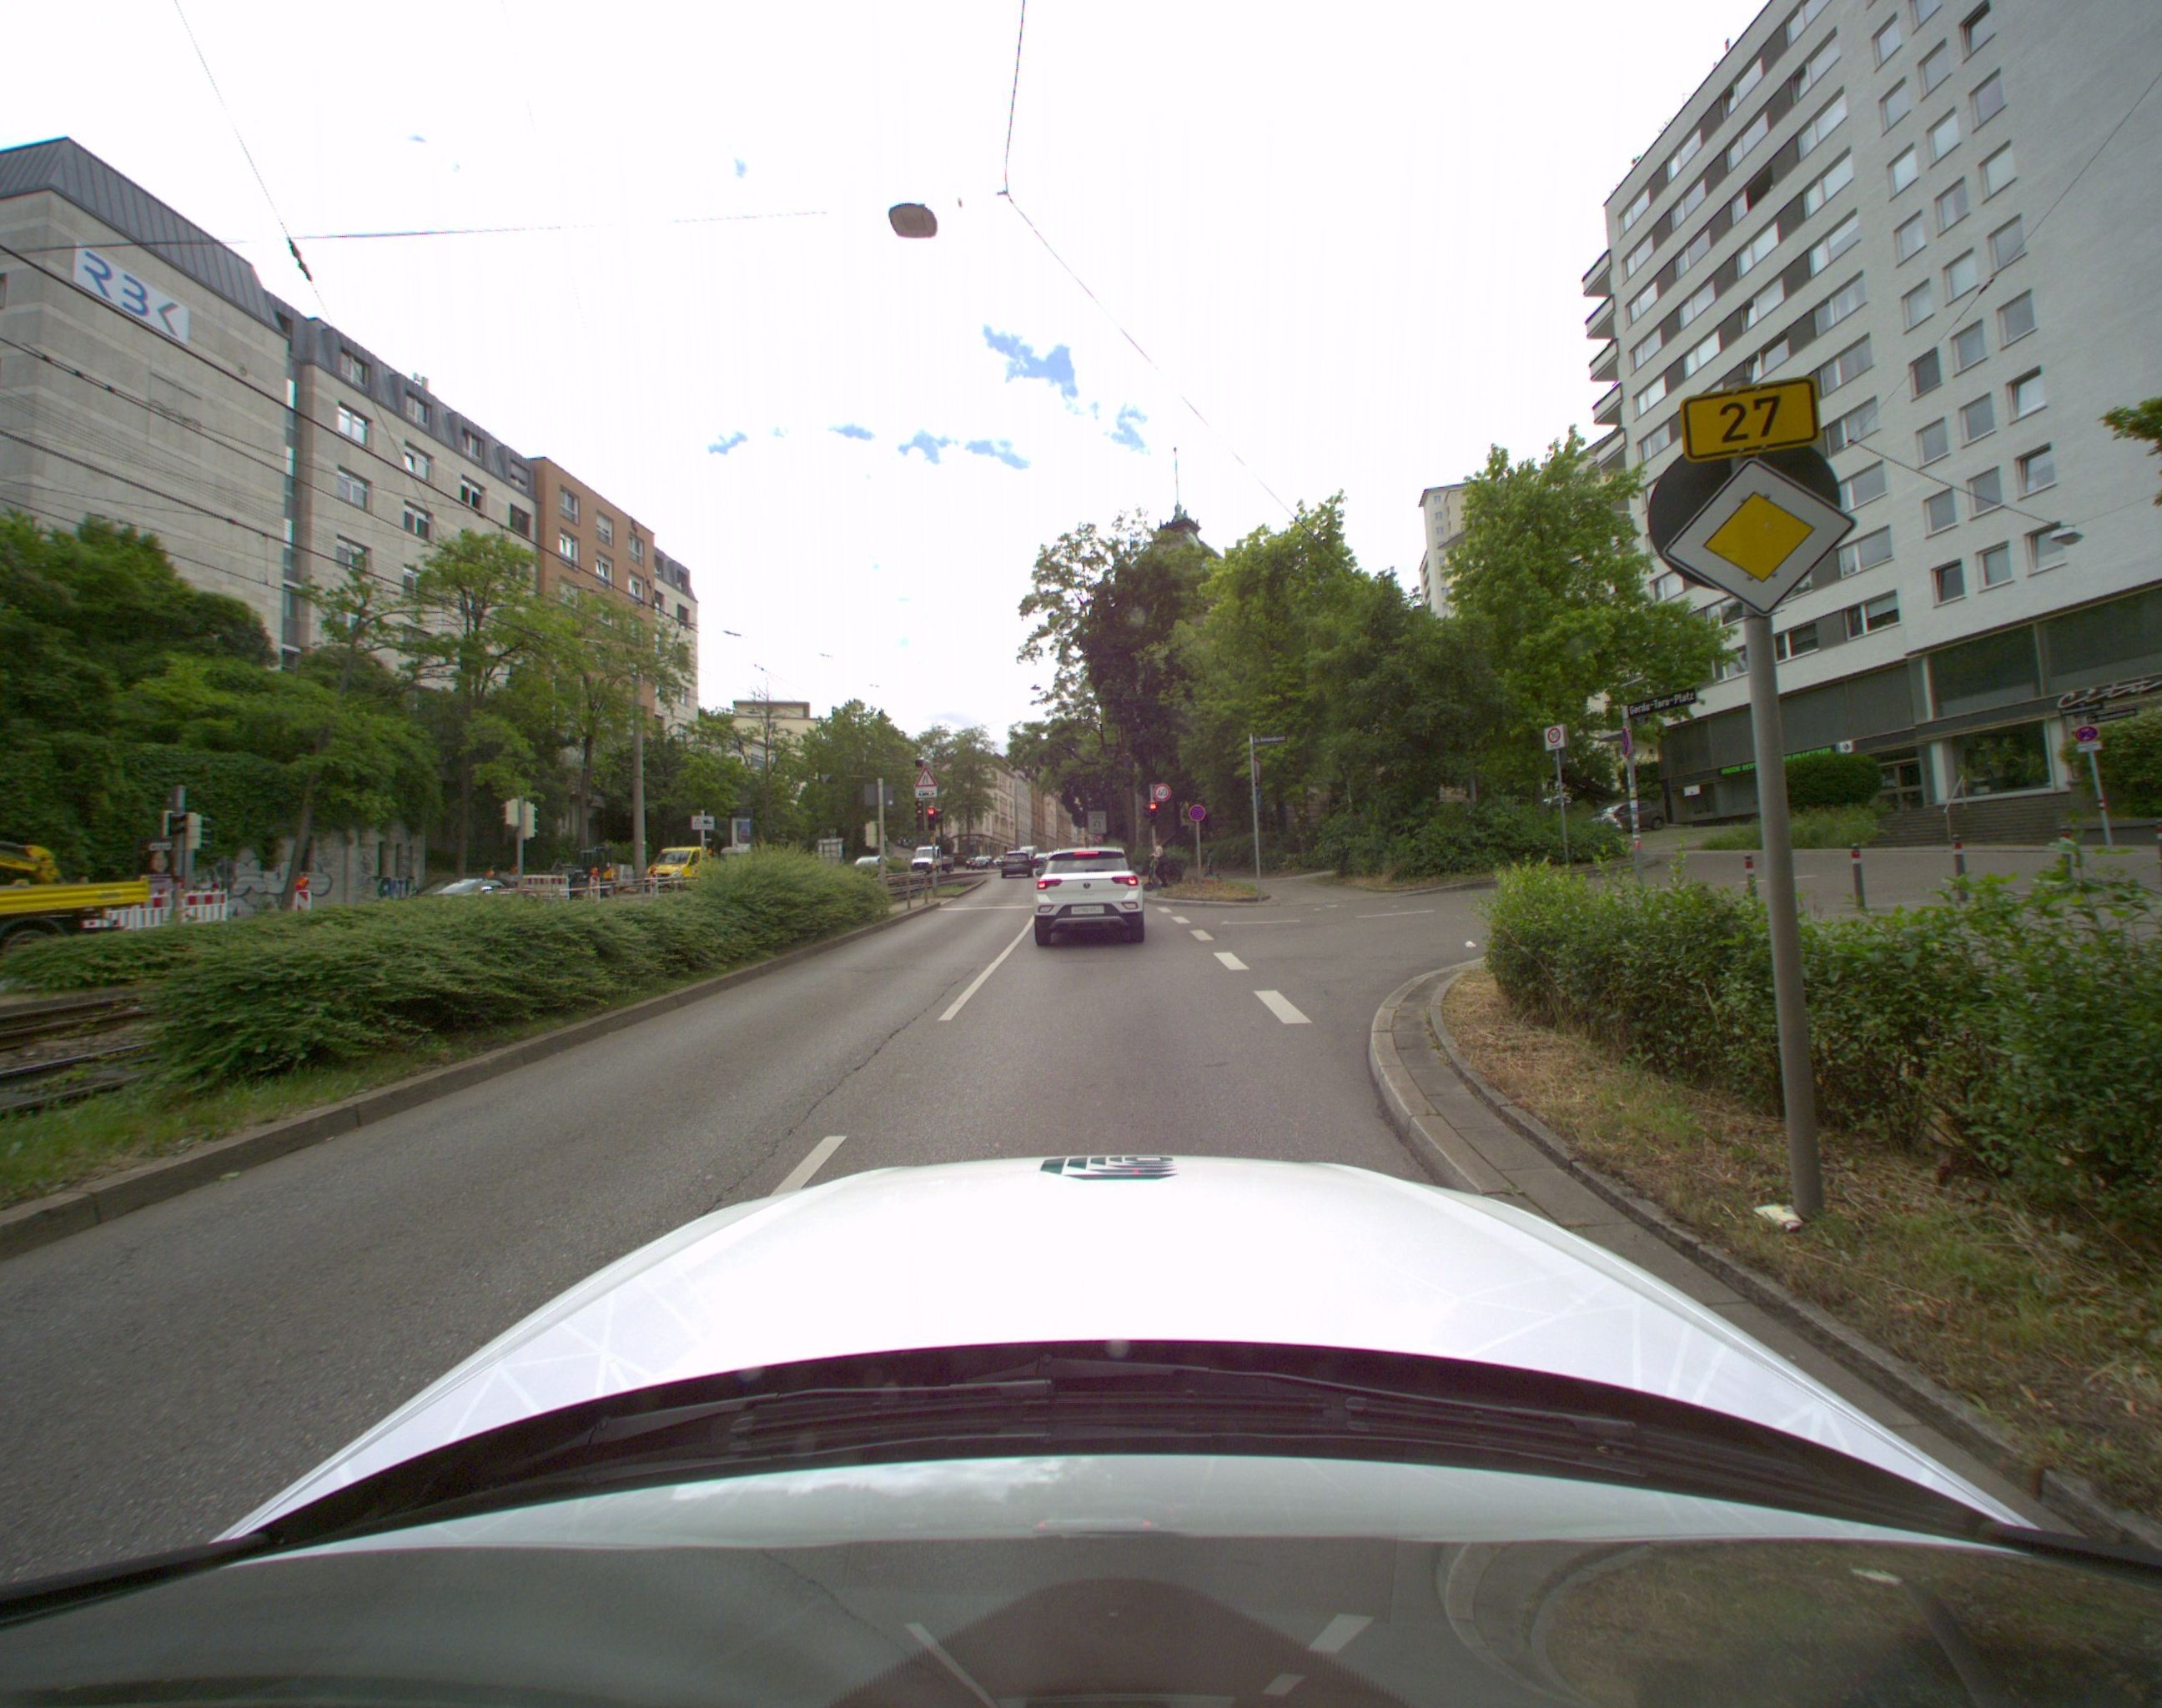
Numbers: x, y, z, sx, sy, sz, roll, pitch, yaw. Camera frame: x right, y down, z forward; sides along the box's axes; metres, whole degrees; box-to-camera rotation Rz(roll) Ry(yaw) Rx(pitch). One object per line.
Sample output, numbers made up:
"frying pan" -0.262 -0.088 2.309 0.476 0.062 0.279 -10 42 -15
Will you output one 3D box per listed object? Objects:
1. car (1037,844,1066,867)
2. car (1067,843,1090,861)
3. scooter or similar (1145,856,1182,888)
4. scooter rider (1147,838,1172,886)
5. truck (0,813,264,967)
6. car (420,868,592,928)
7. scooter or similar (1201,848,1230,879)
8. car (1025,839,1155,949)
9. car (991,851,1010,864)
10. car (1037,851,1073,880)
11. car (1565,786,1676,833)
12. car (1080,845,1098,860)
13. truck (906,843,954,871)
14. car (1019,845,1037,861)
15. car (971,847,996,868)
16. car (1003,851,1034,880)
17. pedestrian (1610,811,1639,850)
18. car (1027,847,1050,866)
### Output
"car" -2.257 0.149 63.824 1.986 1.623 4.001 0 -2 2
"car" -0.269 -0.245 102.887 2.411 2.169 6.040 -3 0 4
"scooter or similar" 2.761 0.592 27.449 1.182 0.994 0.532 -3 0 4
"scooter rider" 2.641 0.256 27.447 0.774 1.558 0.533 -3 0 3
"truck" -19.008 0.668 13.868 2.907 2.510 7.152 -2 -2 0
"car" -15.571 1.137 22.349 1.734 1.322 4.067 -2 0 1
"scooter or similar" 4.967 0.354 30.183 0.475 1.099 1.361 -3 0 -17
"car" 0.226 0.573 14.379 1.930 1.566 4.049 -2 2 2
"car" -10.383 0.452 105.231 1.986 1.623 4.001 0 -2 2
"car" -1.464 0.707 47.771 1.896 1.574 3.834 0 -2 1
"car" 26.105 -2.141 39.474 4.124 2.013 1.996 -3 0 -6
"car" 1.265 -0.184 127.617 2.411 2.169 6.040 -3 0 4
"truck" -12.272 0.205 66.680 2.411 2.169 6.039 0 0 4
"car" -7.328 -0.174 112.177 1.986 2.013 4.002 -3 0 2
"car" -10.023 0.393 83.797 1.986 2.014 4.001 0 -2 2
"car" -3.859 0.691 50.979 1.835 1.740 3.995 0 0 -4
"pedestrian" 21.172 -0.915 31.728 0.560 1.499 0.672 -3 0 -24
"car" -4.157 0.205 80.433 1.820 1.757 3.781 -3 0 2
